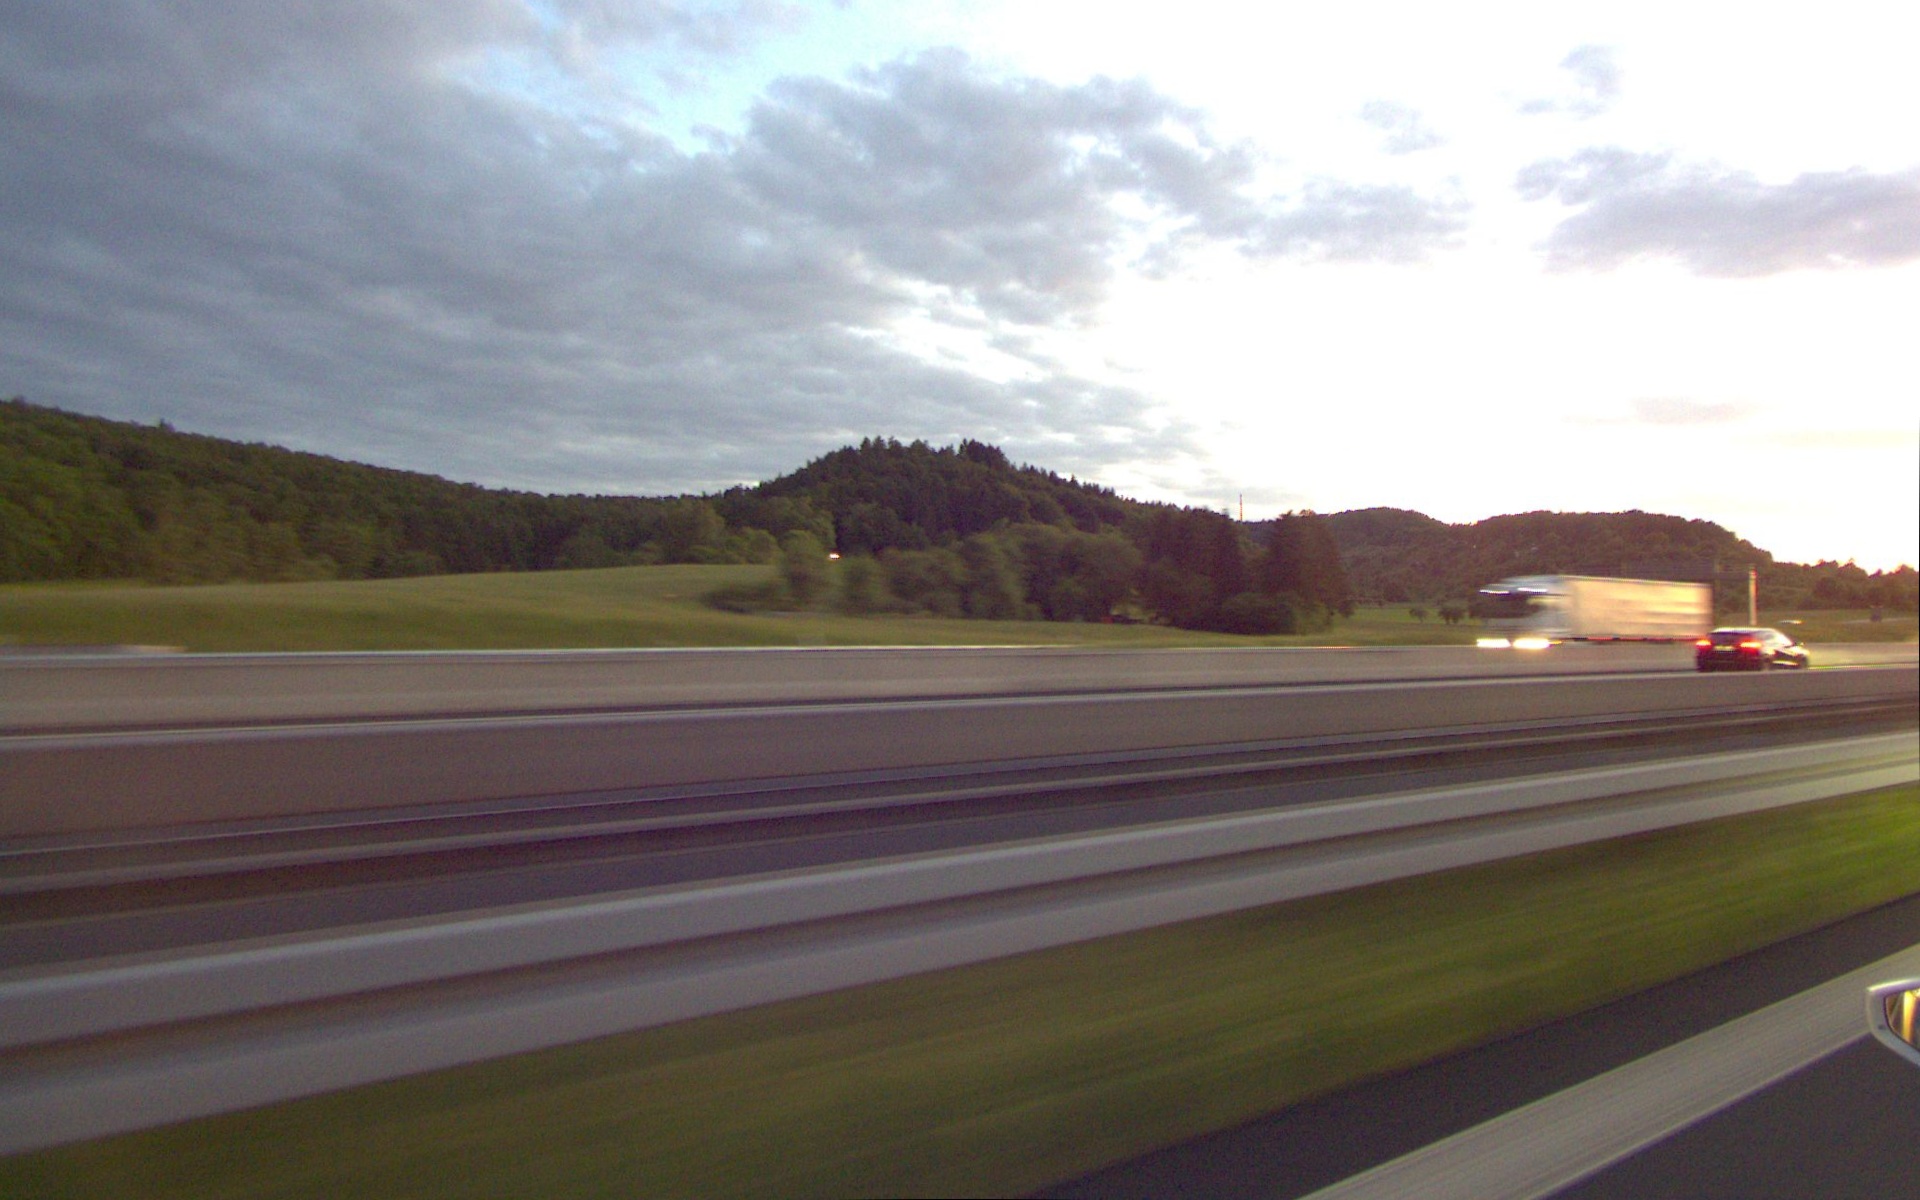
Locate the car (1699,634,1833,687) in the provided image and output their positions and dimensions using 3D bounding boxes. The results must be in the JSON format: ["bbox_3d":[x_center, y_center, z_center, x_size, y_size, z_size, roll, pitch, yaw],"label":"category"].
[{"bbox_3d":[25.697,1.887,31.995,4.467,1.582,1.863,2,-2,-30],"label":"car"}]

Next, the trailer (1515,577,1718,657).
[{"bbox_3d":[34.815,1.035,52.970,13.726,3.814,3.311,2,-2,-31],"label":"trailer"}]

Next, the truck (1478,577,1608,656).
[{"bbox_3d":[28.548,0.883,49.210,5.434,3.666,3.294,2,-2,-31],"label":"truck"}]
